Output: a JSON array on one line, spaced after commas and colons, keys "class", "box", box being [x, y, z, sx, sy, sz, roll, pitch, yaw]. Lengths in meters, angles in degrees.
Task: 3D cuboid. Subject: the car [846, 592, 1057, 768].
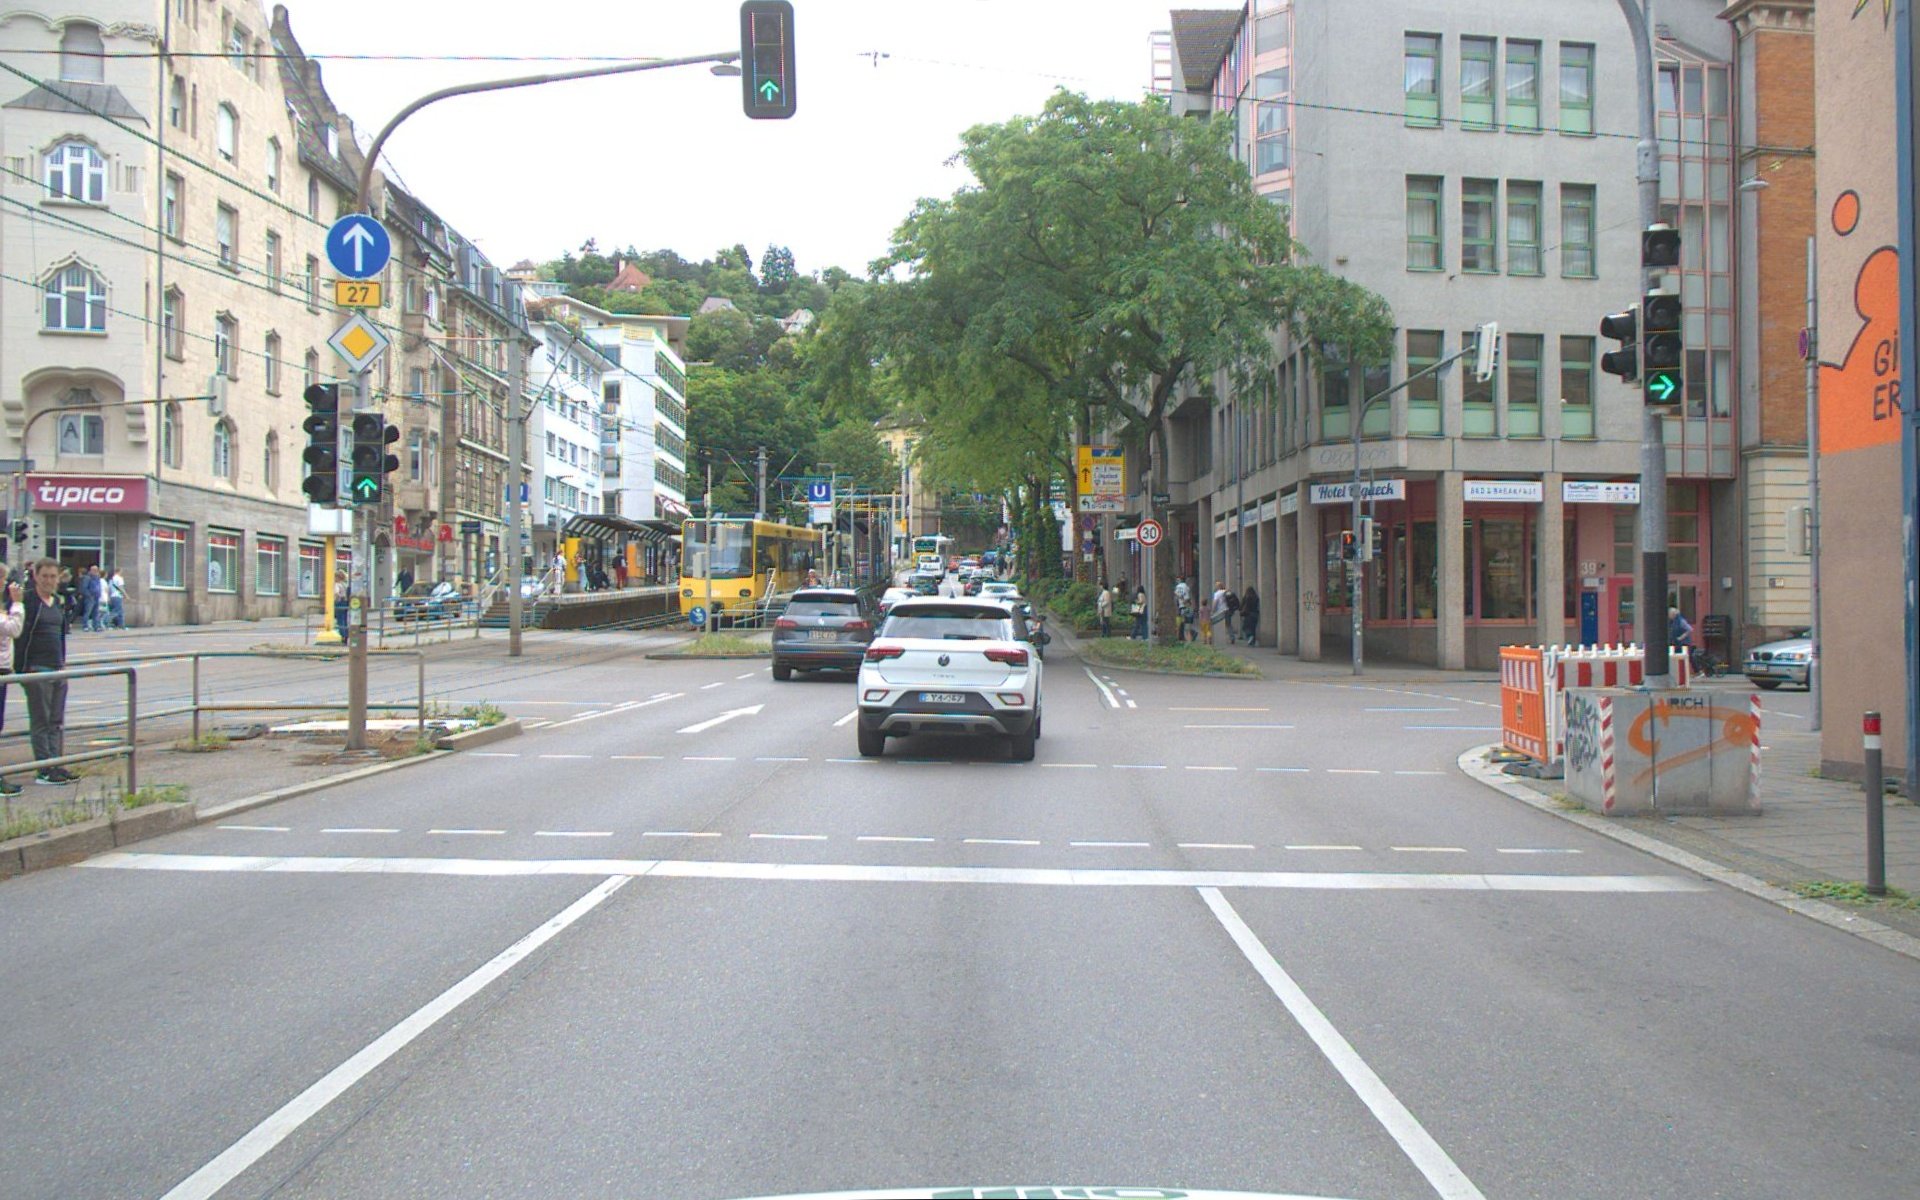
[{"class": "car", "box": [0.035, 0.729, 17.448, 1.798, 1.611, 4.160, 0, 0, 6]}]

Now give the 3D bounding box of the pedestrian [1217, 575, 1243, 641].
[{"class": "pedestrian", "box": [7.464, 0.217, 45.766, 0.508, 1.820, 0.764, 1, 0, -4]}]

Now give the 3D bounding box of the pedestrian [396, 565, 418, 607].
[{"class": "pedestrian", "box": [-24.049, -0.597, 71.929, 0.624, 1.793, 0.833, 0, 0, -42]}]

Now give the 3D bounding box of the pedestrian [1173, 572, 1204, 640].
[{"class": "pedestrian", "box": [6.461, 0.170, 46.801, 0.719, 1.907, 0.733, 0, 0, -4]}]

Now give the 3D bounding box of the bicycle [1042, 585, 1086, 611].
[{"class": "bicycle", "box": [4.626, -0.104, 73.953, 1.877, 1.095, 0.613, -2, 1, -3]}]

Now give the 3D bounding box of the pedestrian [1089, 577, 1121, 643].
[{"class": "pedestrian", "box": [4.105, 0.289, 46.833, 0.679, 1.808, 0.689, -4, 0, -4]}]

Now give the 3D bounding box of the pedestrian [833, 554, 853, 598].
[{"class": "pedestrian", "box": [-4.779, -0.983, 67.453, 0.703, 1.761, 0.671, 1, 0, 1]}]

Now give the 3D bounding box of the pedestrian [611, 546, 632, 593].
[{"class": "pedestrian", "box": [-13.187, -1.178, 64.517, 0.614, 1.793, 0.847, 0, 0, 1]}]

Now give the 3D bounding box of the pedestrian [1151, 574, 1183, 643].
[{"class": "pedestrian", "box": [5.700, 0.238, 45.585, 0.707, 1.834, 0.834, -2, 3, -4]}]

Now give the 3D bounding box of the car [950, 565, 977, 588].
[{"class": "car", "box": [0.255, -1.857, 131.882, 1.848, 1.713, 4.157, 1, 0, -4]}]

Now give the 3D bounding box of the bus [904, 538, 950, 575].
[{"class": "bus", "box": [-3.137, -4.177, 161.312, 3.301, 3.118, 13.330, 1, 0, 3]}]

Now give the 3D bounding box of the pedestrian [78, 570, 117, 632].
[{"class": "pedestrian", "box": [-23.937, 0.025, 45.912, 0.659, 1.706, 0.691, 0, 0, 18]}]

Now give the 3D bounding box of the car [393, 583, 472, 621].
[{"class": "car", "box": [-20.453, 0.060, 64.288, 1.597, 1.399, 3.785, -2, 0, 4]}]

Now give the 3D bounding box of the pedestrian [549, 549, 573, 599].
[{"class": "pedestrian", "box": [-13.763, -0.898, 57.043, 0.674, 1.741, 0.662, 0, 1, -1]}]

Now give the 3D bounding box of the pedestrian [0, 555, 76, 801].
[{"class": "pedestrian", "box": [-7.011, 0.552, 12.086, 0.749, 1.751, 0.637, 0, 0, -1]}]

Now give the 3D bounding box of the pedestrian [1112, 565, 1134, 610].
[{"class": "pedestrian", "box": [6.700, -0.510, 68.121, 0.747, 1.813, 0.847, -2, 3, -5]}]

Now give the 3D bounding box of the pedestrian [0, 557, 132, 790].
[{"class": "pedestrian", "box": [-7.011, 0.551, 12.835, 0.775, 1.751, 0.772, 0, 0, -1]}]

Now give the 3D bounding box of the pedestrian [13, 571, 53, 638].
[{"class": "pedestrian", "box": [-25.438, 0.114, 45.377, 0.773, 1.811, 0.666, 0, 0, 31]}]

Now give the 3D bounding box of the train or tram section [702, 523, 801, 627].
[{"class": "train or tram section", "box": [-7.567, -0.916, 60.646, 2.777, 3.582, 5.752, 1, 1, 0]}]

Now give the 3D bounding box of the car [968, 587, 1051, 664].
[{"class": "car", "box": [1.145, 0.588, 39.985, 1.846, 1.713, 4.161, 1, 0, 0]}]

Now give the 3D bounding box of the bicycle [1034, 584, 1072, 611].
[{"class": "bicycle", "box": [4.091, -0.105, 72.731, 1.586, 1.147, 0.613, -2, 1, 4]}]

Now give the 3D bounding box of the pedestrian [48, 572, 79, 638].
[{"class": "pedestrian", "box": [-24.625, 0.132, 45.447, 0.500, 1.811, 0.576, 0, 0, 31]}]

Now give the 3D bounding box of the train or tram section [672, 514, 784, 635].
[{"class": "train or tram section", "box": [-7.613, -0.845, 54.879, 2.777, 3.743, 5.752, 1, 1, 0]}]

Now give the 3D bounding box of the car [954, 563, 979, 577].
[{"class": "car", "box": [0.639, -2.778, 154.170, 1.548, 1.193, 3.681, 1, 0, 12]}]

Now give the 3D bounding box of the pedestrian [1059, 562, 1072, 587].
[{"class": "pedestrian", "box": [6.834, -1.658, 107.132, 0.626, 1.643, 0.584, 1, 0, -20]}]

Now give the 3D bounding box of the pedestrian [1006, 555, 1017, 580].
[{"class": "pedestrian", "box": [4.205, -2.637, 135.235, 0.746, 2.049, 0.839, 1, 0, 5]}]

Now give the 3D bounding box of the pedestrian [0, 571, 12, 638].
[{"class": "pedestrian", "box": [-25.895, 0.115, 44.439, 0.499, 1.811, 0.577, 0, 0, 2]}]

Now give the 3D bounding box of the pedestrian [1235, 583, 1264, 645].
[{"class": "pedestrian", "box": [7.802, 0.377, 44.533, 0.745, 1.640, 0.619, -1, 3, 11]}]

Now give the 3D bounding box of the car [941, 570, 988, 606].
[{"class": "car", "box": [0.250, -0.711, 98.738, 2.318, 2.049, 5.143, 1, 0, -5]}]

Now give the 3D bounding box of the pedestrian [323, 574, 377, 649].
[{"class": "pedestrian", "box": [-14.273, 0.267, 38.715, 0.858, 1.735, 0.811, 0, 0, 29]}]

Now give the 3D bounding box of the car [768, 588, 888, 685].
[{"class": "car", "box": [-2.382, 0.631, 30.758, 1.953, 1.664, 3.999, 1, 0, -1]}]

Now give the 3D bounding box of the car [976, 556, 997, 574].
[{"class": "car", "box": [2.870, -3.709, 176.514, 1.845, 1.713, 4.164, 1, 0, 7]}]

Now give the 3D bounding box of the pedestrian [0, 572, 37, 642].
[{"class": "pedestrian", "box": [-24.797, 0.175, 43.478, 0.694, 1.811, 0.596, 0, 0, 16]}]

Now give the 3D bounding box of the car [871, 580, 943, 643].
[{"class": "car", "box": [-1.574, 0.305, 50.040, 1.872, 1.718, 4.002, 2, 2, 2]}]

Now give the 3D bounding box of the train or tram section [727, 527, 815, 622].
[{"class": "train or tram section", "box": [-7.515, -1.032, 66.401, 2.777, 3.582, 5.752, 1, 1, 0]}]

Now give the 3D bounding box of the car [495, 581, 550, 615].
[{"class": "car", "box": [-20.806, -0.112, 78.797, 1.527, 1.550, 3.601, 1, 0, 2]}]

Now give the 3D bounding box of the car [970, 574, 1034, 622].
[{"class": "car", "box": [1.541, -0.082, 62.466, 1.849, 1.713, 4.155, 1, 0, -7]}]

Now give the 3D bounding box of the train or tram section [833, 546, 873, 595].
[{"class": "train or tram section", "box": [-8.435, -2.313, 131.298, 2.756, 3.730, 6.750, 1, 1, -1]}]

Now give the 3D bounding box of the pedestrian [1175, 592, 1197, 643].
[{"class": "pedestrian", "box": [6.101, 0.479, 44.670, 0.462, 1.357, 0.519, 1, 0, -4]}]

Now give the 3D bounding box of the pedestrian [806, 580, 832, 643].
[{"class": "pedestrian", "box": [-3.904, 0.310, 45.846, 0.622, 1.741, 0.871, 0, 1, 0]}]

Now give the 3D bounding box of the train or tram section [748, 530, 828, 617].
[{"class": "train or tram section", "box": [-7.438, -1.160, 72.183, 2.777, 3.582, 5.752, 1, 1, 0]}]

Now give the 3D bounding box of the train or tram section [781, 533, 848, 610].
[{"class": "train or tram section", "box": [-7.327, -1.432, 83.783, 2.755, 3.730, 5.903, 1, 1, 0]}]

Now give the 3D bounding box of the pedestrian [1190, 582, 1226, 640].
[{"class": "pedestrian", "box": [6.841, 0.304, 45.695, 0.819, 1.590, 0.764, 1, 0, -4]}]

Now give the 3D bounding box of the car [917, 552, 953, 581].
[{"class": "car", "box": [-1.863, -2.528, 126.461, 2.315, 2.049, 5.150, 1, 0, 3]}]

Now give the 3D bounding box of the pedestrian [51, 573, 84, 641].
[{"class": "pedestrian", "box": [-23.848, 0.191, 44.205, 0.499, 1.811, 0.577, 0, 0, 14]}]

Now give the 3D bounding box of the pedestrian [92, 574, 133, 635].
[{"class": "pedestrian", "box": [-24.341, 0.116, 47.535, 0.765, 1.735, 0.724, 0, 0, 6]}]

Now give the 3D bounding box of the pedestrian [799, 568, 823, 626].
[{"class": "pedestrian", "box": [-4.470, -0.092, 49.658, 0.671, 1.741, 0.712, 0, 1, 0]}]

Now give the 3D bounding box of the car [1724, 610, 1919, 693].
[{"class": "car", "box": [16.470, 0.922, 30.494, 4.075, 1.453, 1.849, 0, 0, -12]}]

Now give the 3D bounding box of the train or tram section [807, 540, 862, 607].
[{"class": "train or tram section", "box": [-7.302, -1.574, 96.823, 2.756, 3.730, 6.750, 1, 1, -1]}]

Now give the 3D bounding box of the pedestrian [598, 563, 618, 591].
[{"class": "pedestrian", "box": [-13.960, -0.914, 65.567, 0.622, 1.127, 0.690, 0, 1, 0]}]

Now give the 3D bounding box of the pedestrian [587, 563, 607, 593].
[{"class": "pedestrian", "box": [-14.050, -0.855, 64.067, 0.622, 1.127, 0.690, 0, 1, 0]}]

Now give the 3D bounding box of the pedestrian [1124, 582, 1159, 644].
[{"class": "pedestrian", "box": [5.185, 0.356, 47.328, 0.819, 1.733, 0.764, -2, 1, -4]}]

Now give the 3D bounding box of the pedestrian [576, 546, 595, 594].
[{"class": "pedestrian", "box": [-13.836, -1.115, 61.140, 0.623, 1.741, 0.689, 0, 1, -9]}]

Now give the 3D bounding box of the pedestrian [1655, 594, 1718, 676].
[{"class": "pedestrian", "box": [15.910, 0.754, 36.219, 1.103, 1.742, 0.853, 0, 0, 35]}]
